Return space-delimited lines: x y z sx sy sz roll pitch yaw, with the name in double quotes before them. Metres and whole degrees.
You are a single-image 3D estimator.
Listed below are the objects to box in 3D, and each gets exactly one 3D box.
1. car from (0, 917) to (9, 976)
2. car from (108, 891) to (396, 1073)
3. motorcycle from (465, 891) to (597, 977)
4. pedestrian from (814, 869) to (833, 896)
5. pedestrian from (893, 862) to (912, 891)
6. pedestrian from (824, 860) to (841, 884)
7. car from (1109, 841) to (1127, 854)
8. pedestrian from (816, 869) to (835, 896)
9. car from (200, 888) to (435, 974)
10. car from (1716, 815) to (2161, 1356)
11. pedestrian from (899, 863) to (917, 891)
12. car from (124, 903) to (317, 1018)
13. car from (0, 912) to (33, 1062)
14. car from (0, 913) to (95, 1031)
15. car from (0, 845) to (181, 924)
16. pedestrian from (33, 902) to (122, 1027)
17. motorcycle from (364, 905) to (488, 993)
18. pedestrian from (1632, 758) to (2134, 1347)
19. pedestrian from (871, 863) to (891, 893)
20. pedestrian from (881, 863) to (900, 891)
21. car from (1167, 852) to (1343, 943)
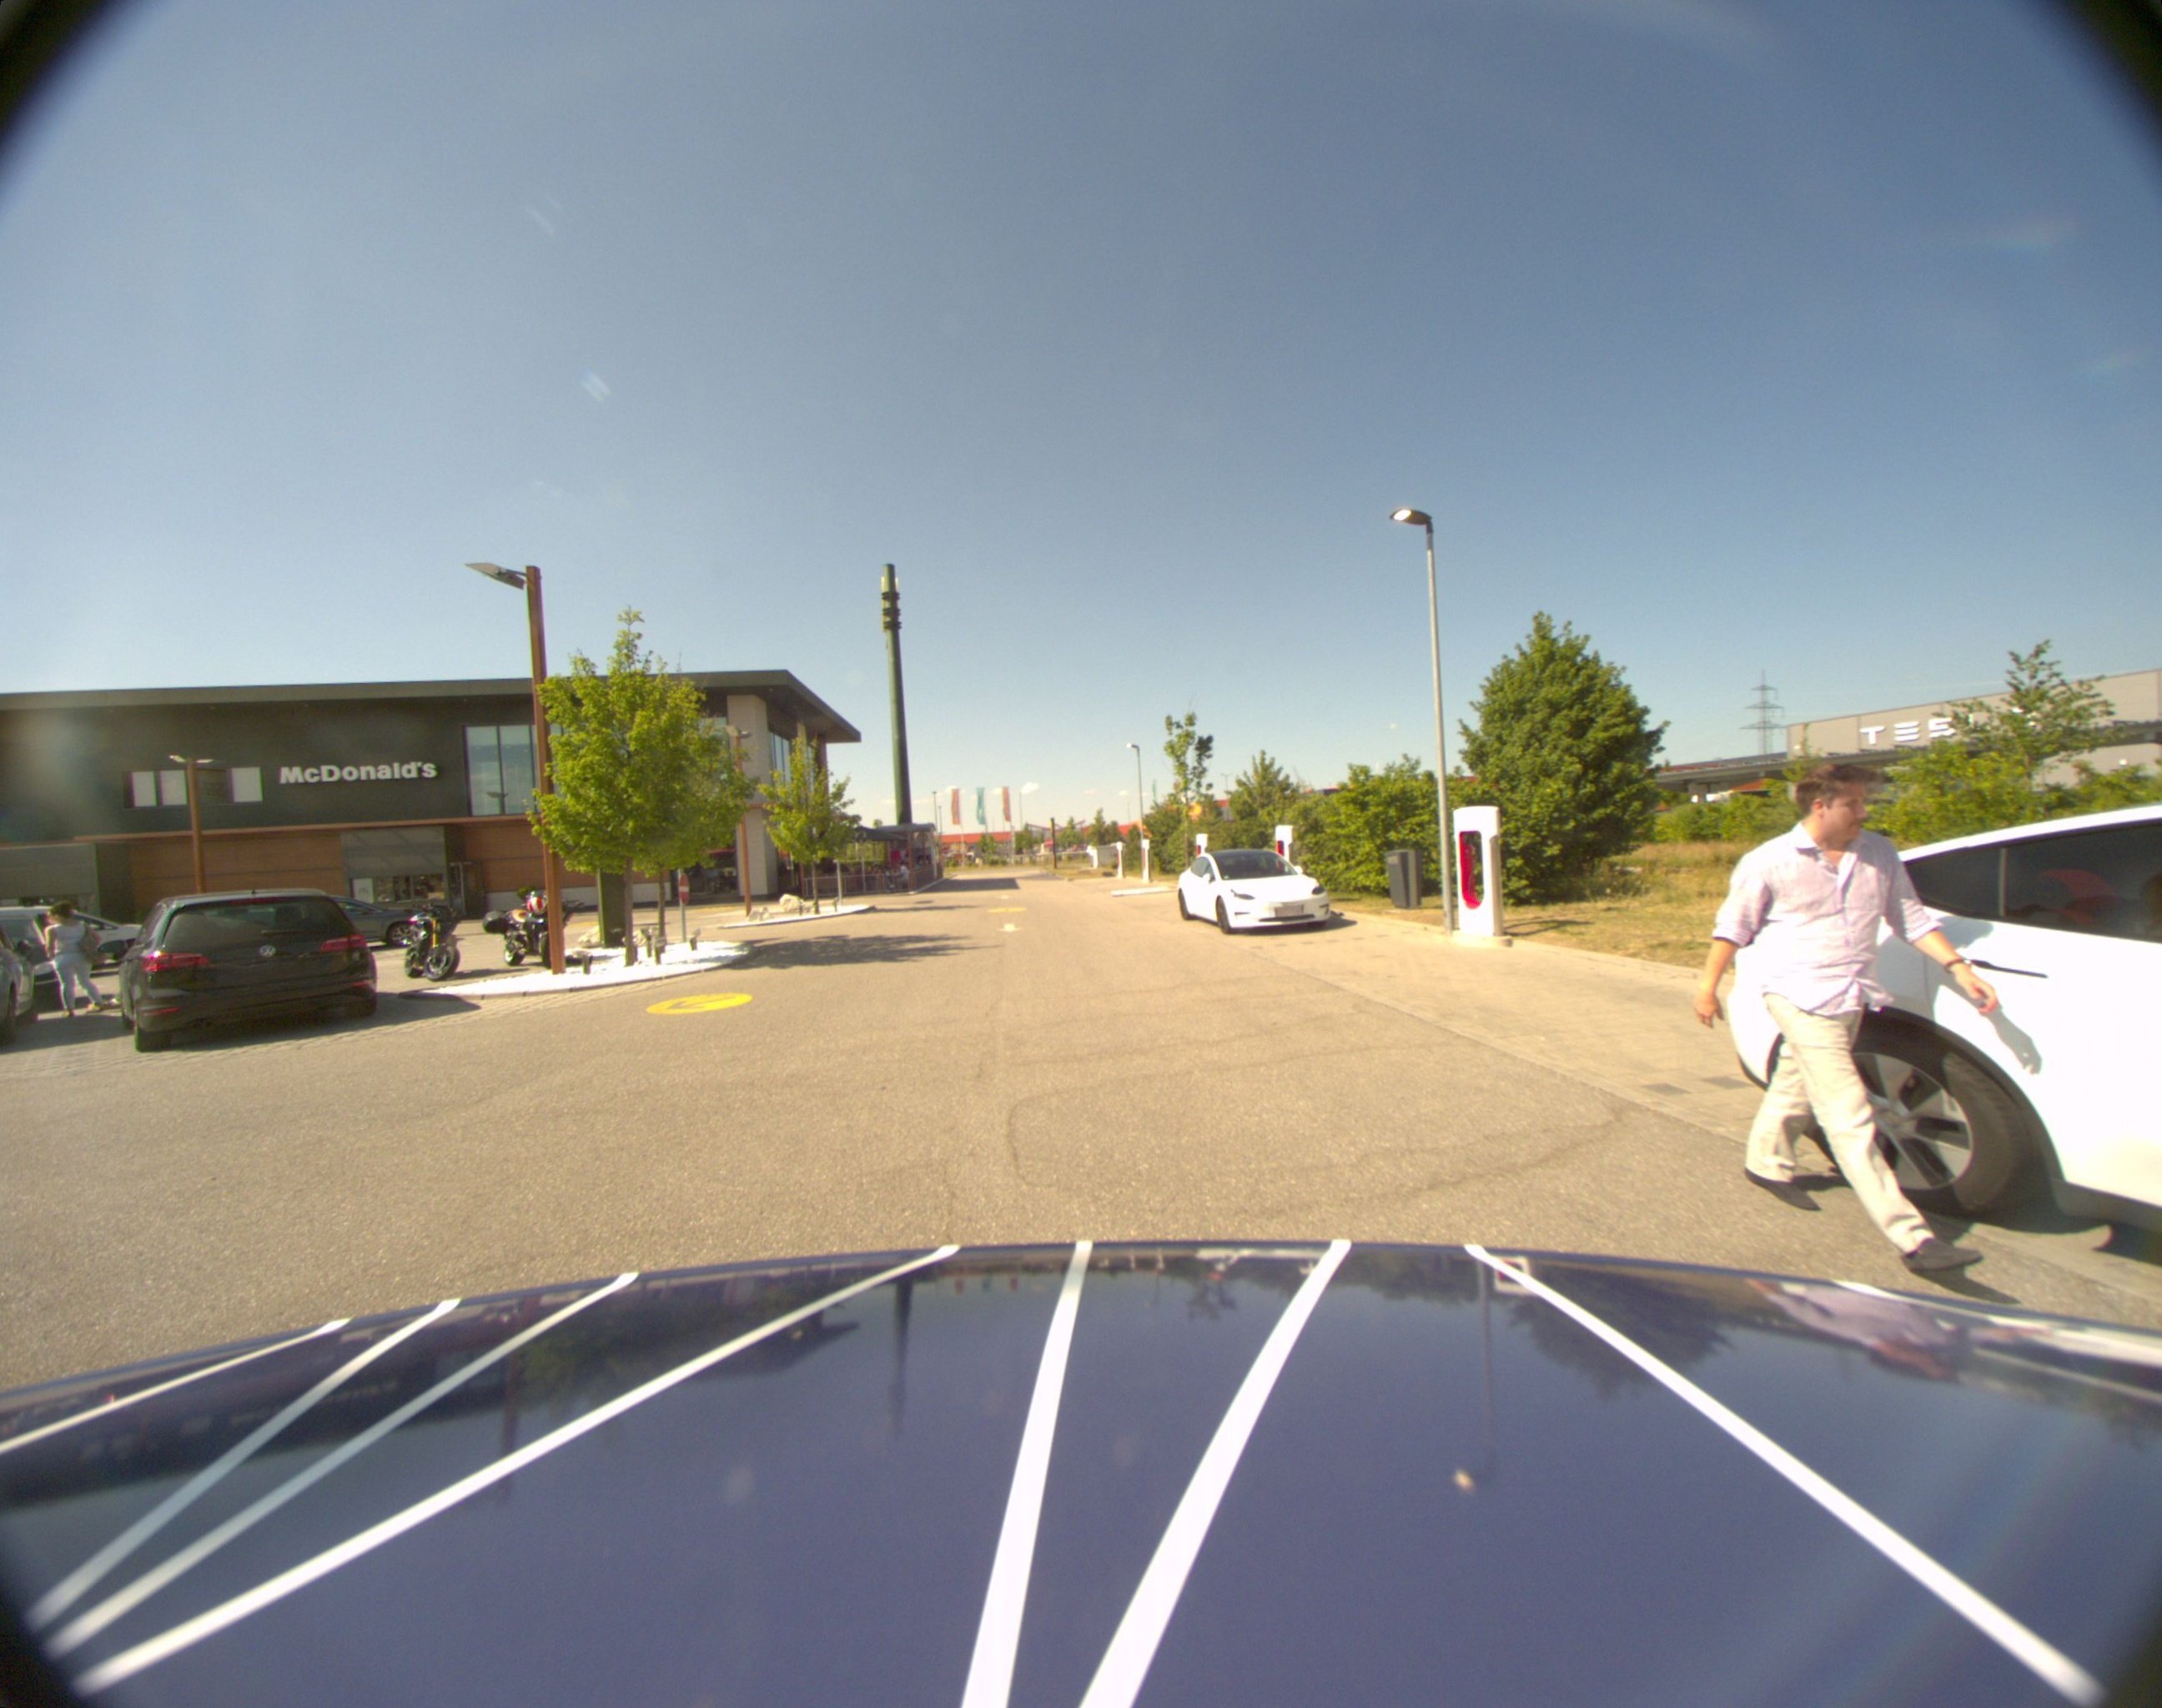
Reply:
"car" -31.506 2.674 19.796 1.754 1.622 3.850 -3 1 28
"car" -9.907 1.297 9.001 4.179 1.528 1.899 -3 1 38
"motorcycle" -9.421 1.349 12.985 2.246 1.243 1.073 -5 1 36
"pedestrian" -11.068 1.222 32.622 0.634 1.117 0.524 -4 1 -10
"pedestrian" -7.975 1.000 33.959 0.730 1.251 0.572 -4 1 -11
"pedestrian" -11.901 0.861 36.361 0.573 1.094 0.656 -4 1 -7
"car" 5.803 -1.024 119.613 1.999 2.002 3.998 -3 0 -6
"pedestrian" -11.187 1.230 33.300 0.634 1.117 0.524 -4 1 -10
"car" -20.746 1.991 20.831 1.785 1.595 4.234 0 4 38
"car" 4.302 0.684 1.539 1.870 1.591 4.485 -4 1 -8
"pedestrian" -8.044 1.072 35.405 0.730 1.251 0.572 -4 1 -11
"car" -14.560 1.689 12.904 4.651 1.438 1.839 -5 0 41
"car" -13.880 1.583 8.804 4.056 1.630 1.751 -4 1 39
"car" -17.249 1.833 11.867 3.989 1.584 1.815 -3 1 43
"car" -27.696 0.832 20.486 1.754 1.910 4.152 -3 1 33
"pedestrian" -14.610 1.583 11.079 0.612 1.703 0.562 -5 1 -43
"motorcycle" -10.545 1.509 12.211 2.136 1.224 0.822 -4 1 32
"pedestrian" 2.878 0.616 2.880 0.736 1.790 1.035 -4 1 -2
"pedestrian" -8.728 1.040 33.229 0.716 1.251 0.523 -4 1 -10
"pedestrian" -8.854 1.064 35.301 0.716 1.251 0.523 -4 1 -10
"car" 3.115 0.700 14.634 1.822 1.369 4.445 -4 1 -7
